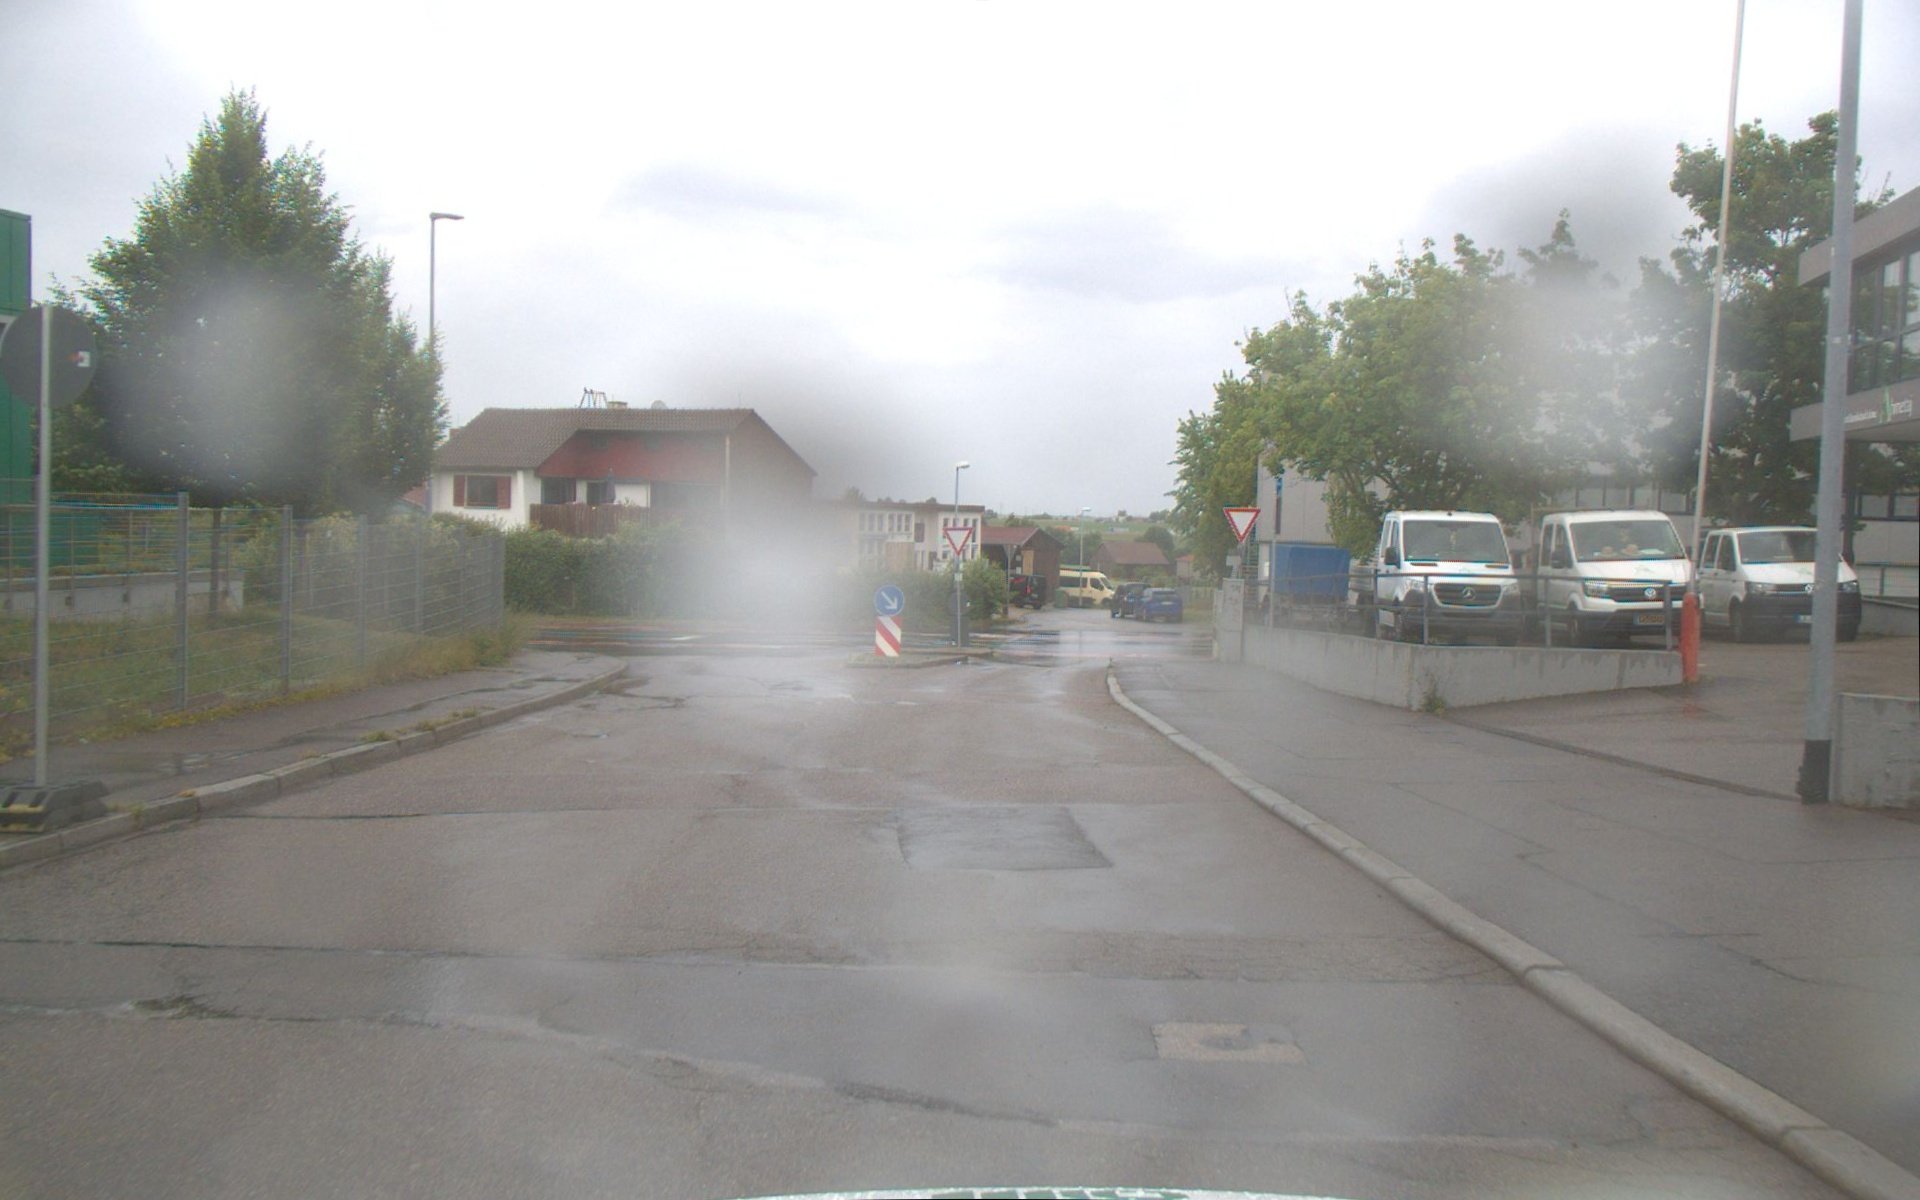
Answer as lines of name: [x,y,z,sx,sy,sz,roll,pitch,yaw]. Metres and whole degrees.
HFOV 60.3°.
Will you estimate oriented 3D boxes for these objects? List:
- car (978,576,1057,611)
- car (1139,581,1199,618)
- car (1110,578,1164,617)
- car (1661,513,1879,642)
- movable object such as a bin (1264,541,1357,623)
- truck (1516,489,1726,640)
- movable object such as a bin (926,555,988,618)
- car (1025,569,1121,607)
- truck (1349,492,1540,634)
car: [3.244,-0.392,93.637,1.986,1.938,4.337,1,0,-45]
car: [9.499,-0.027,75.385,1.913,1.638,4.444,1,0,-3]
car: [8.692,-0.120,81.623,2.032,1.867,4.469,1,0,-2]
car: [14.108,-0.372,29.138,2.012,2.049,4.942,1,0,8]
movable object such as a bin: [6.725,-0.338,31.881,1.281,1.527,1.857,1,0,-4]
truck: [11.243,-0.570,28.537,2.195,2.383,4.840,1,0,7]
movable object such as a bin: [-0.097,-0.573,70.320,1.696,2.601,3.341,1,0,16]
car: [7.576,-0.812,110.774,5.887,2.457,2.463,1,0,23]
truck: [8.390,-0.598,29.208,2.061,2.253,5.656,1,0,4]
